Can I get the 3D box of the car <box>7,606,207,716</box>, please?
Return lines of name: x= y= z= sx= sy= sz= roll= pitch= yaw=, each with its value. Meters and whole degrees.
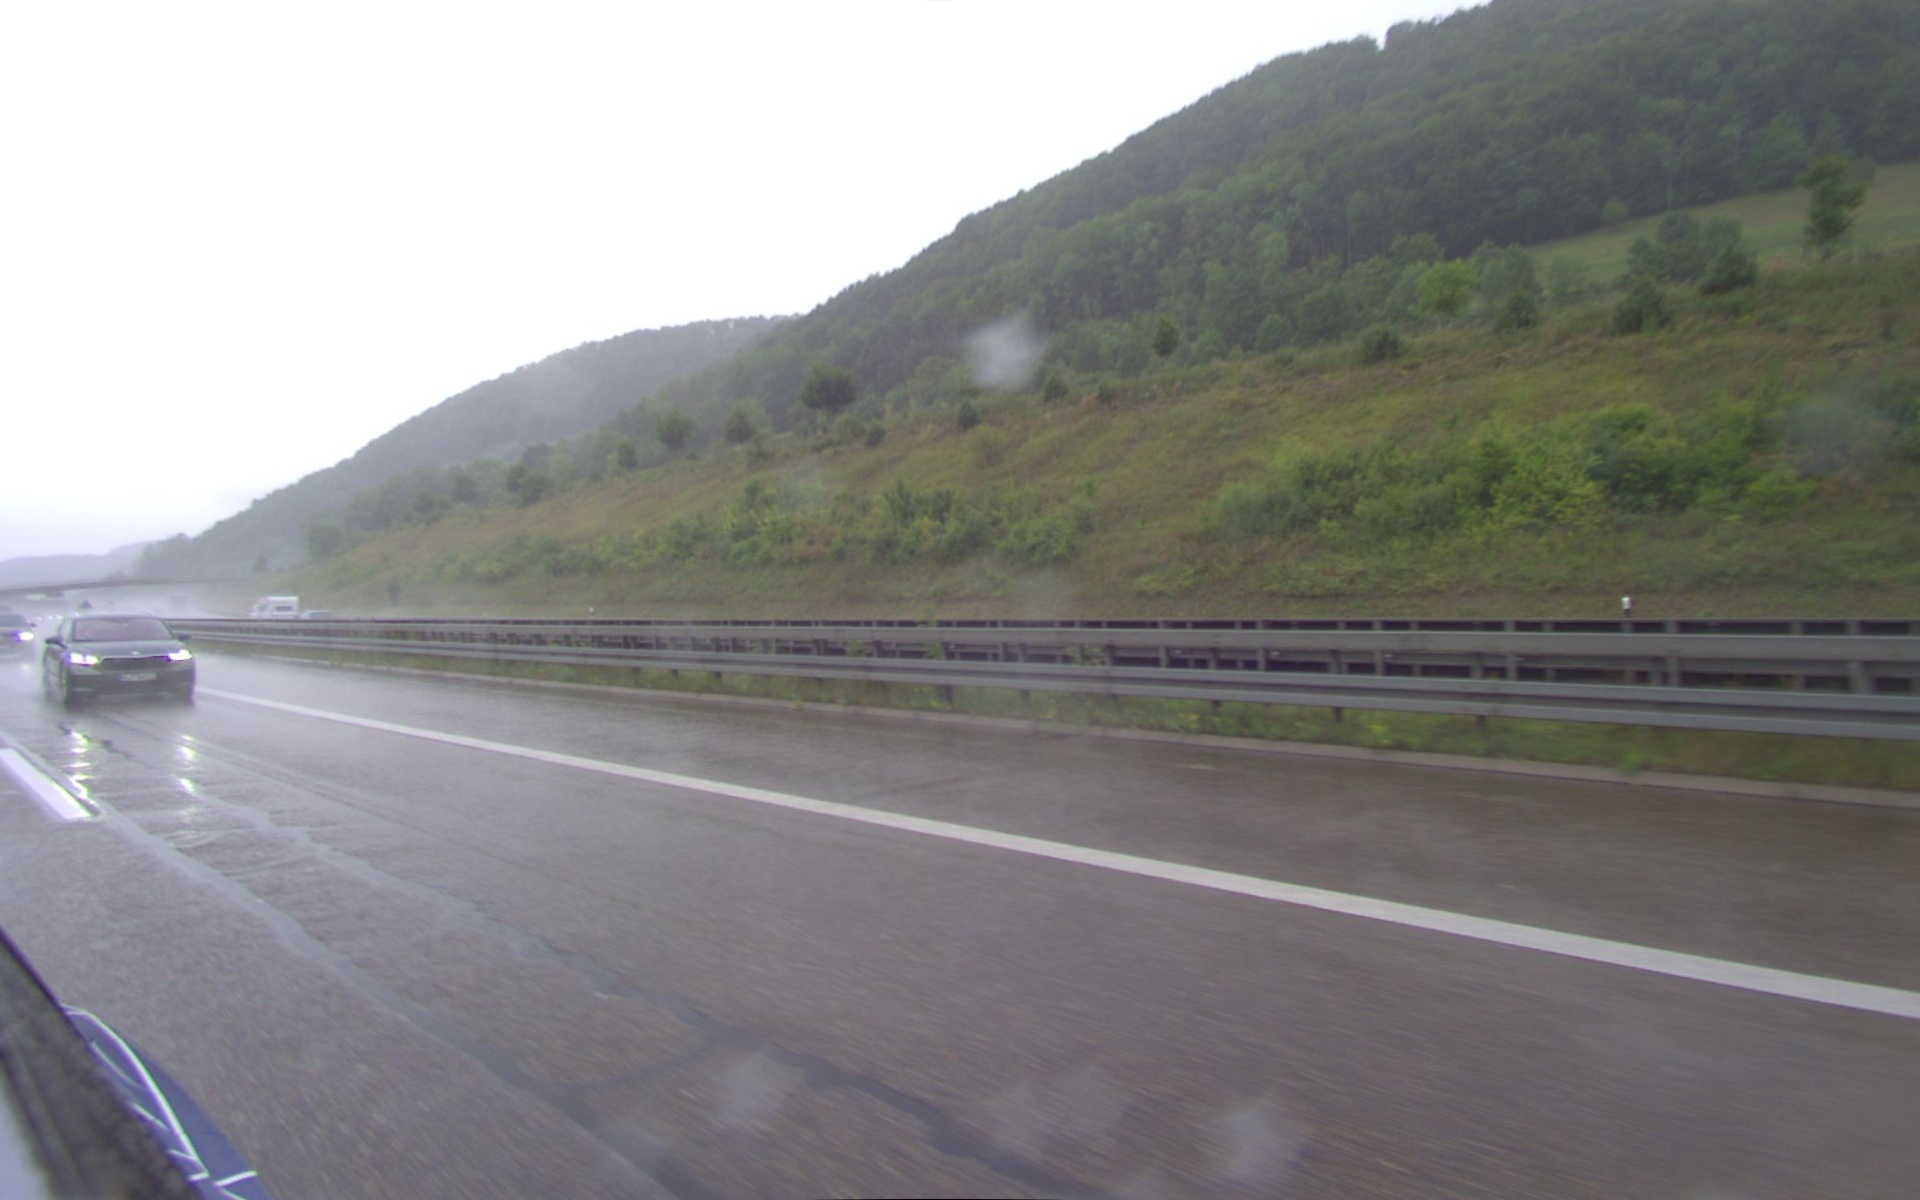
car: x=-15.807 y=1.019 z=18.656 sx=4.905 sy=1.695 sz=1.974 roll=-1 pitch=2 yaw=40

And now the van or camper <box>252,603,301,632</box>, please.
van or camper: x=-63.279 y=1.628 z=93.678 sx=7.208 sy=2.583 sz=2.318 roll=-1 pitch=0 yaw=44

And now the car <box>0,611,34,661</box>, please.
car: x=-35.227 y=1.304 z=36.894 sx=3.748 sy=1.715 sz=1.791 roll=-1 pitch=1 yaw=42

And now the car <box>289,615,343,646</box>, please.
car: x=-41.243 y=1.943 z=64.785 sx=4.000 sy=1.874 sz=1.972 roll=-2 pitch=0 yaw=43
